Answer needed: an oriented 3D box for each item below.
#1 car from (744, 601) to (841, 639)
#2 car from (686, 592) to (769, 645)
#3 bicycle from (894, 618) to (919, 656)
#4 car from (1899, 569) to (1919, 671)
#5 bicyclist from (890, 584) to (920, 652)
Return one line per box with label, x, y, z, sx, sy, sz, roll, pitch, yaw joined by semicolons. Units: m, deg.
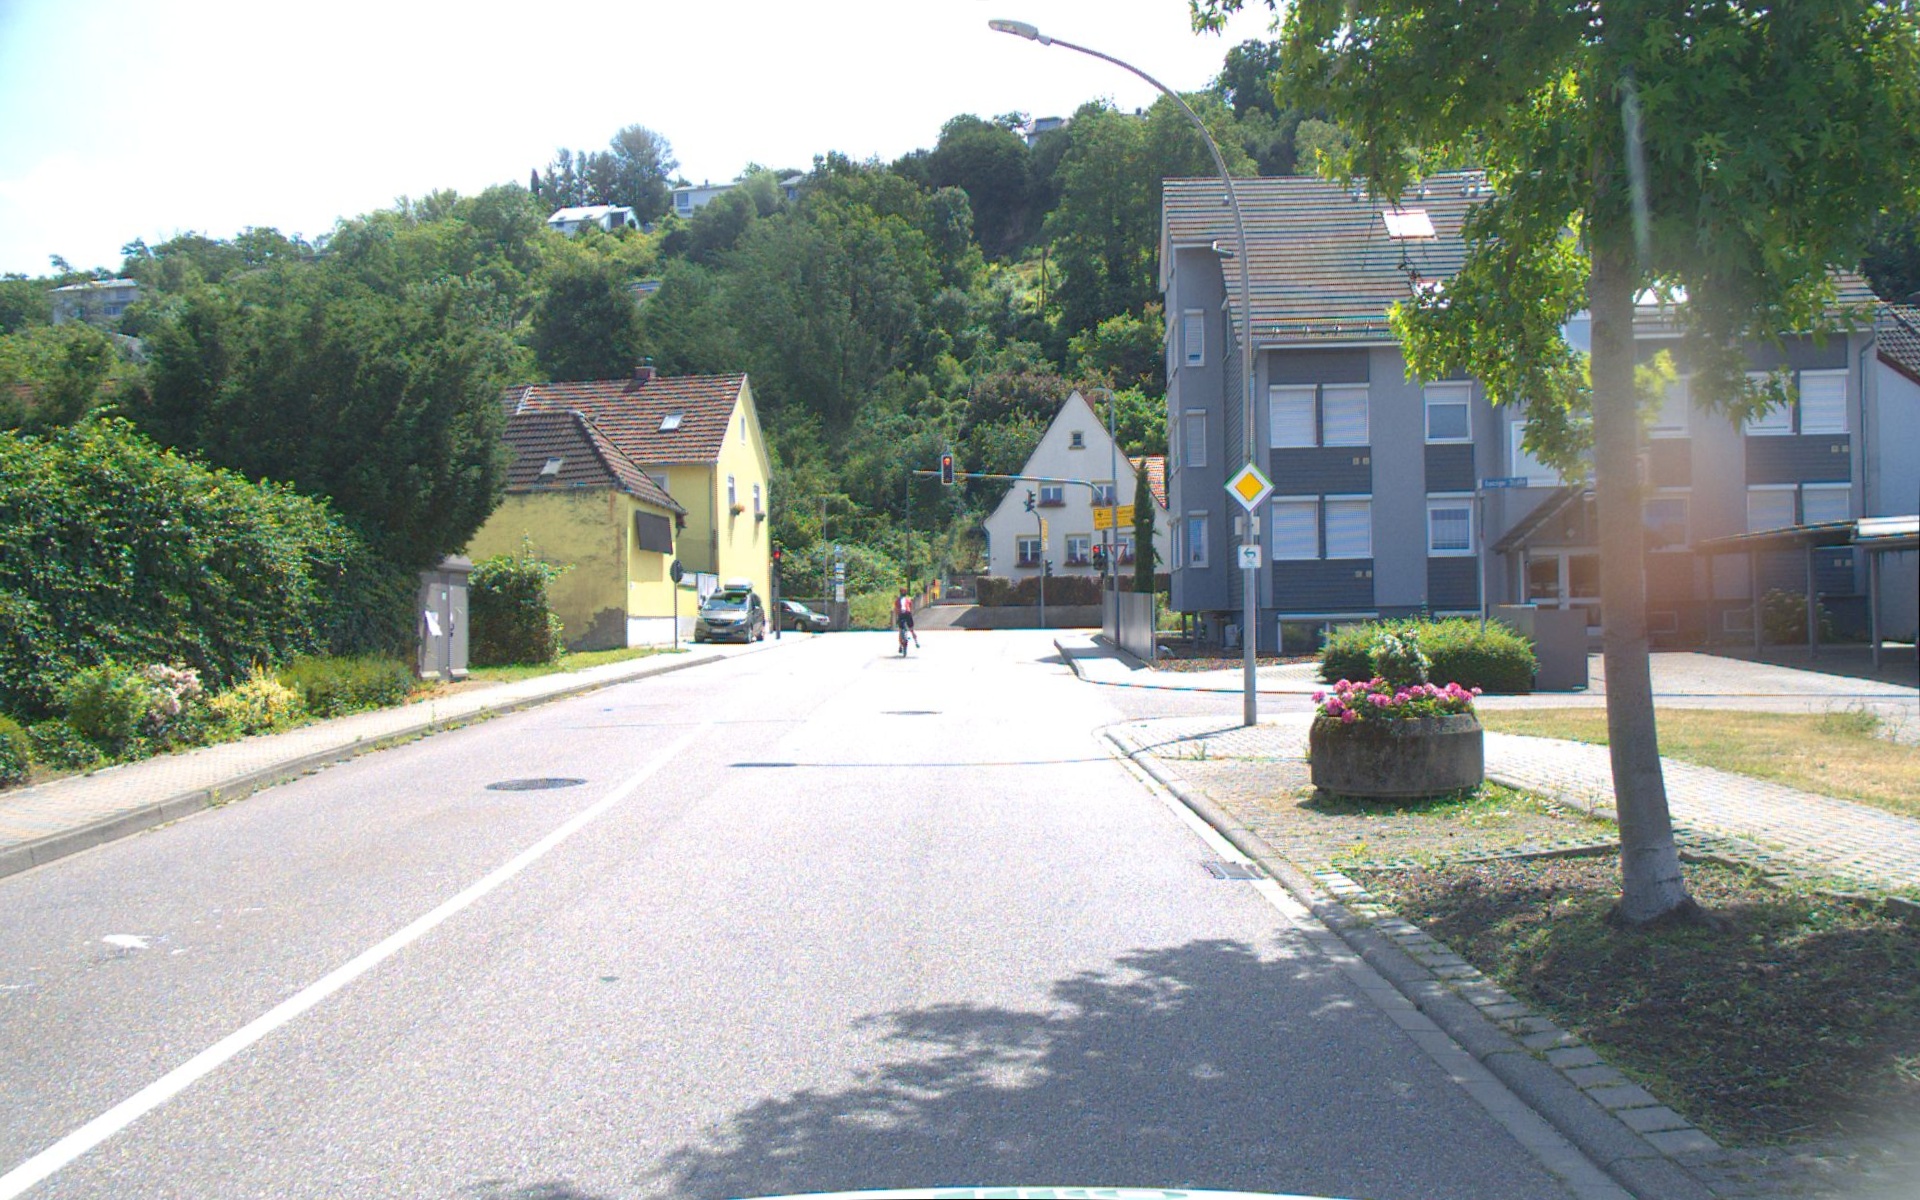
car;-7.271;0.877;71.933;3.783;1.458;1.785;-2;0;25
car;-7.613;0.587;54.588;1.952;1.664;4.631;0;0;2
bicycle;-1.363;0.929;42.015;0.617;0.920;1.656;0;0;-2
car;16.709;0.369;25.933;1.700;1.677;4.218;-2;2;3
bicyclist;-1.384;0.445;41.829;0.745;1.693;0.868;0;0;-2
